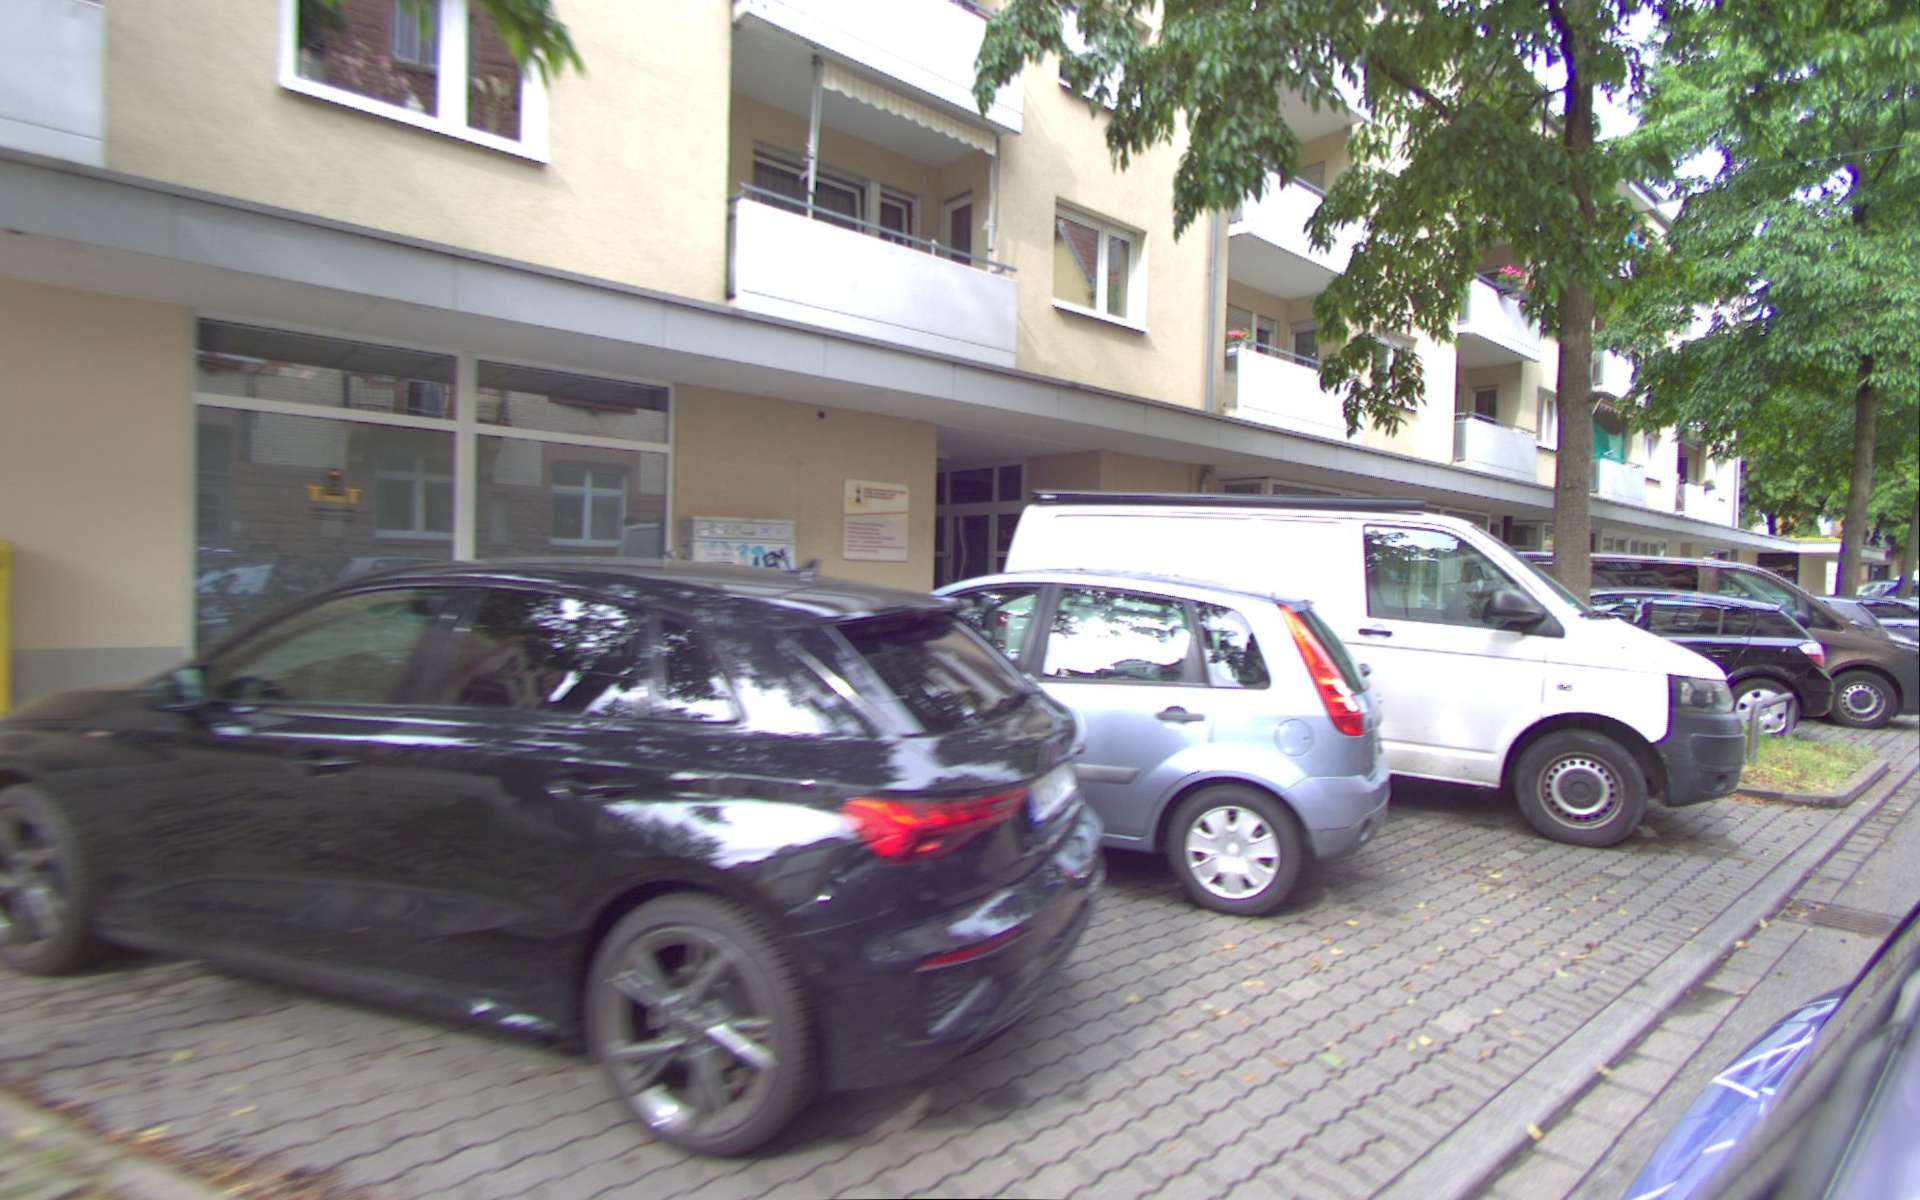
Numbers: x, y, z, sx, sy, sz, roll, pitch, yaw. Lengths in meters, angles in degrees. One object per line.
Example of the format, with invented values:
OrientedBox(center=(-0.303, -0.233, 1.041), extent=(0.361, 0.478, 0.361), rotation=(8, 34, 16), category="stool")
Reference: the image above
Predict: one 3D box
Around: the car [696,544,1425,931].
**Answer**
OrientedBox(center=(0.508, 0.510, 5.465), extent=(3.380, 1.459, 1.662), rotation=(3, 3, 18), category="car")

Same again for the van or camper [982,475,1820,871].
OrientedBox(center=(2.717, 0.203, 7.203), extent=(4.700, 2.017, 1.983), rotation=(4, 5, 27), category="van or camper")

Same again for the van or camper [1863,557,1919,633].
OrientedBox(center=(35.077, -0.140, 35.557), extent=(4.534, 2.628, 1.901), rotation=(1, 1, 17), category="van or camper")

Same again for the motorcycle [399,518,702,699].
OrientedBox(center=(-3.340, 0.043, 8.417), extent=(2.214, 1.316, 0.679), rotation=(0, 4, -42), category="motorcycle")

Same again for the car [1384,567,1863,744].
OrientedBox(center=(6.949, 0.483, 11.151), extent=(3.956, 1.462, 1.831), rotation=(4, 3, 18), category="car")

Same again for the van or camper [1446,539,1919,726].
OrientedBox(center=(9.019, 0.277, 12.835), extent=(4.969, 1.892, 2.110), rotation=(4, 3, 24), category="van or camper")

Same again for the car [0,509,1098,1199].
OrientedBox(center=(-1.787, 0.465, 3.761), extent=(4.258, 1.409, 1.913), rotation=(4, 3, 18), category="car")

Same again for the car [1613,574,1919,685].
OrientedBox(center=(13.347, 0.412, 16.715), extent=(4.012, 1.501, 1.931), rotation=(3, 3, 26), category="car")

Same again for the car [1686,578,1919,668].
OrientedBox(center=(17.726, 0.438, 20.698), extent=(4.175, 1.518, 1.964), rotation=(4, 3, 20), category="car")

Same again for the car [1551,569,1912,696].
OrientedBox(center=(11.048, 0.375, 14.892), extent=(3.823, 1.520, 1.897), rotation=(3, 3, 26), category="car")

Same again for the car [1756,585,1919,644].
OrientedBox(center=(25.276, 0.390, 28.665), extent=(3.874, 1.483, 1.809), rotation=(3, 2, 25), category="car")

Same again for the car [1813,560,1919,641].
OrientedBox(center=(28.616, 0.078, 29.898), extent=(4.634, 2.223, 2.061), rotation=(4, 2, 12), category="car")

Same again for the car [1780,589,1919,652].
OrientedBox(center=(24.219, 0.533, 26.285), extent=(4.060, 1.460, 1.842), rotation=(2, 2, 19), category="car")

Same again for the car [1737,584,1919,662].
OrientedBox(center=(19.488, 0.463, 22.340), extent=(3.337, 1.515, 1.836), rotation=(3, 2, 26), category="car")
